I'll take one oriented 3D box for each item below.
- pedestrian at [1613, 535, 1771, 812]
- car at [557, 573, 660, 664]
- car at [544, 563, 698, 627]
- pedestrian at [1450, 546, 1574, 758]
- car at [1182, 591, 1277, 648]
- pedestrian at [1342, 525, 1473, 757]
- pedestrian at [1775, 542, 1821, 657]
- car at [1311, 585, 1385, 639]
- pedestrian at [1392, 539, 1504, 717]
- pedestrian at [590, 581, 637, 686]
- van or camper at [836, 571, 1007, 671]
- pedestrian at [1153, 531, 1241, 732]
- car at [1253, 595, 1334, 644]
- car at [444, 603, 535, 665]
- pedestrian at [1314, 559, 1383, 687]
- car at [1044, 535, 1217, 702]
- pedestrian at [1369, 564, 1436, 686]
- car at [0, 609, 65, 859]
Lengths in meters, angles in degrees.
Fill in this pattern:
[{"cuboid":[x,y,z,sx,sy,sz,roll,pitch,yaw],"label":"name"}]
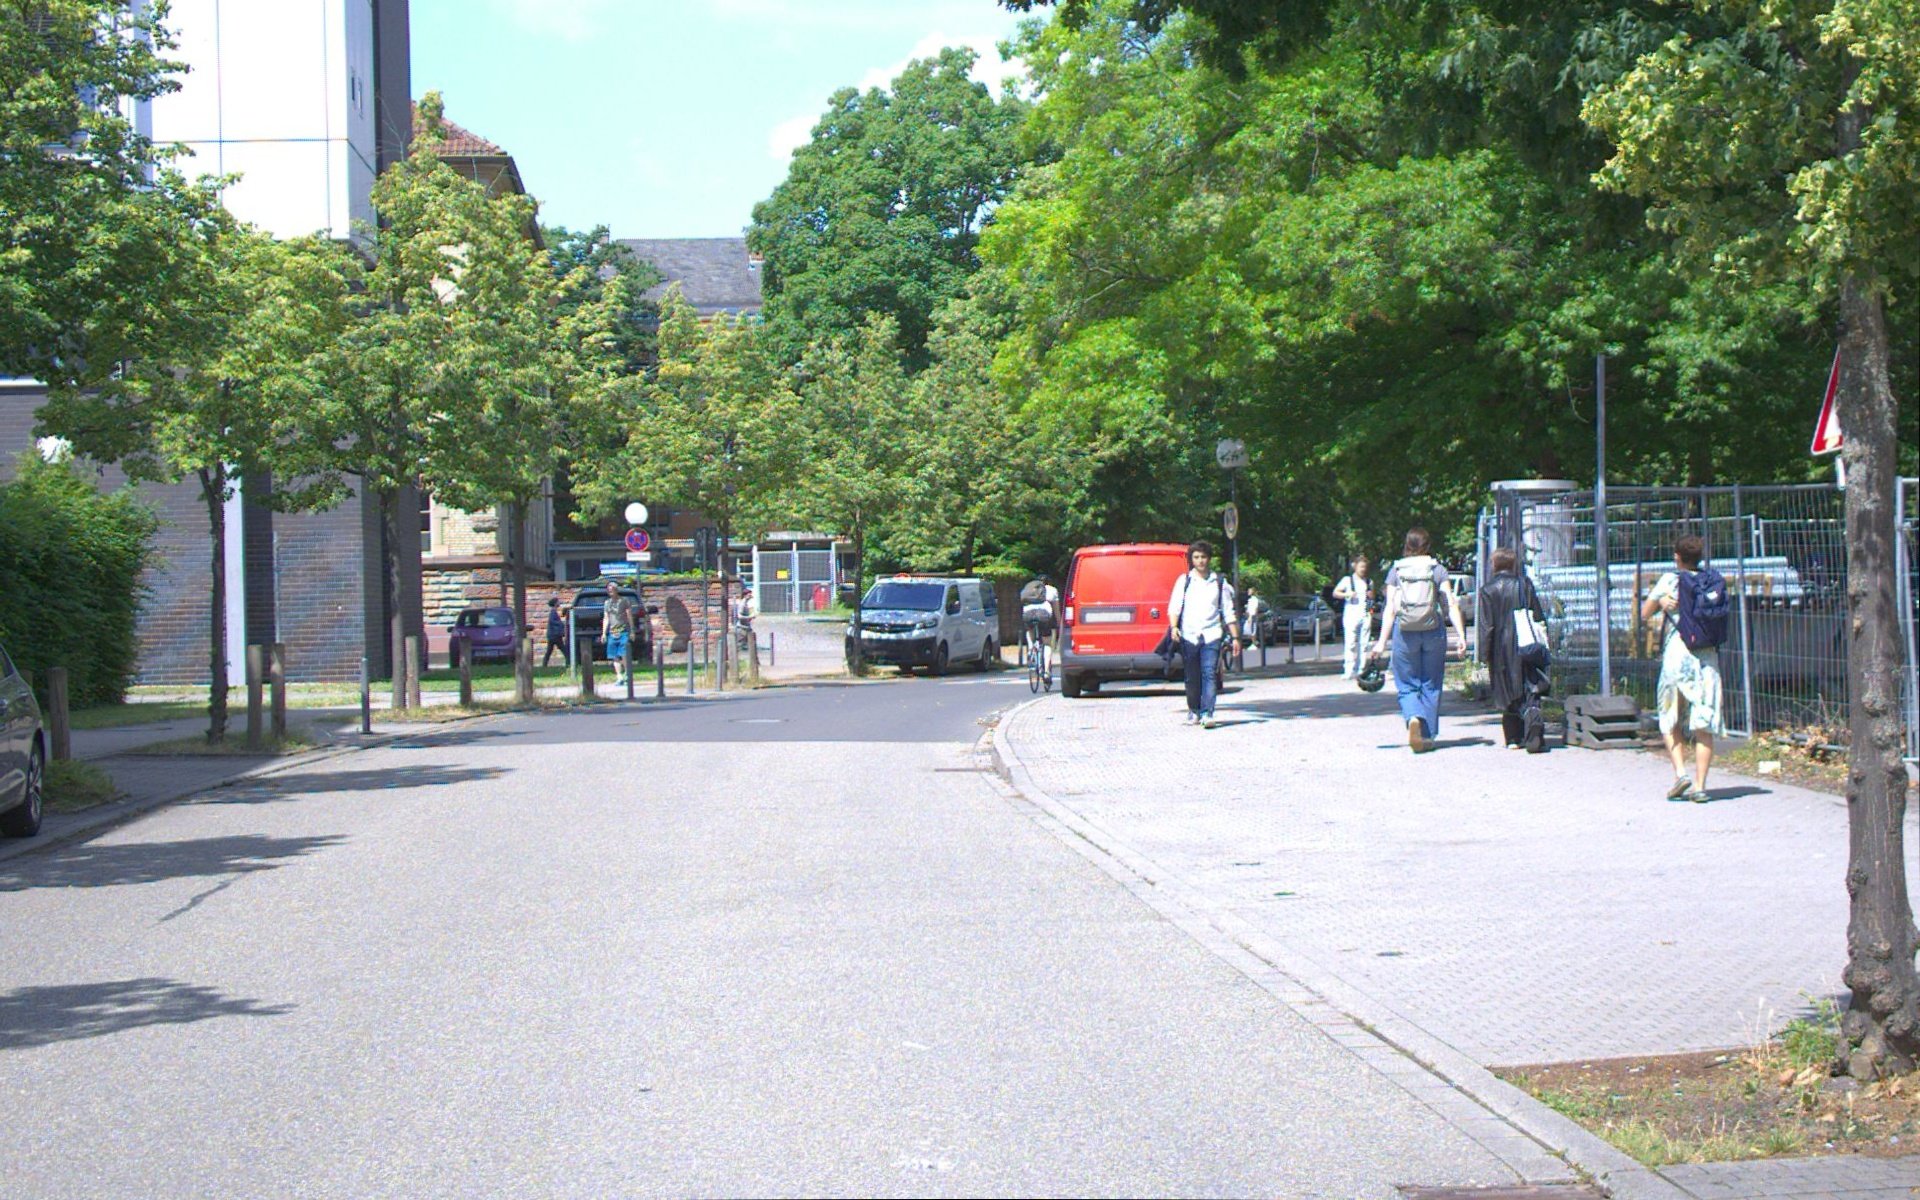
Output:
[{"cuboid":[4.523,0.445,21.291,0.649,1.660,0.904,-1,0,-8],"label":"pedestrian"},{"cuboid":[-7.840,0.410,76.475,2.174,1.919,5.187,-1,0,-6],"label":"car"},{"cuboid":[-10.116,-0.144,102.534,4.156,1.817,2.000,-1,0,-21],"label":"car"},{"cuboid":[4.267,0.397,26.615,0.668,1.594,0.985,-1,0,-6],"label":"pedestrian"},{"cuboid":[7.403,0.515,94.085,1.761,1.516,4.108,-1,0,17],"label":"car"},{"cuboid":[3.463,0.312,26.674,0.850,1.758,0.716,-1,0,-3],"label":"pedestrian"},{"cuboid":[13.502,-0.006,55.416,0.543,1.831,0.761,-1,0,2],"label":"pedestrian"},{"cuboid":[12.391,0.380,109.615,1.617,1.673,3.997,-1,0,17],"label":"car"},{"cuboid":[4.537,0.261,31.955,0.713,1.626,0.711,-1,0,-30],"label":"pedestrian"},{"cuboid":[-5.872,0.567,58.283,0.584,1.758,0.911,-1,0,6],"label":"pedestrian"},{"cuboid":[-0.715,0.399,68.683,1.955,1.916,5.416,0,0,16],"label":"van or camper"},{"cuboid":[2.130,0.279,30.960,0.694,1.775,0.787,-1,0,0],"label":"pedestrian"},{"cuboid":[9.846,0.557,101.316,1.617,1.383,3.997,-1,0,17],"label":"car"},{"cuboid":[-10.408,0.746,76.264,1.817,1.319,3.768,-1,0,-5],"label":"car"},{"cuboid":[5.588,0.329,49.438,0.721,1.815,0.630,-1,0,-40],"label":"pedestrian"},{"cuboid":[2.152,0.208,42.223,1.849,1.885,4.889,-2,0,6],"label":"car"},{"cuboid":[6.265,0.348,48.664,0.743,1.704,0.564,-1,0,-40],"label":"pedestrian"},{"cuboid":[-6.551,0.787,20.393,1.777,1.456,4.260,0,0,-6],"label":"car"}]
